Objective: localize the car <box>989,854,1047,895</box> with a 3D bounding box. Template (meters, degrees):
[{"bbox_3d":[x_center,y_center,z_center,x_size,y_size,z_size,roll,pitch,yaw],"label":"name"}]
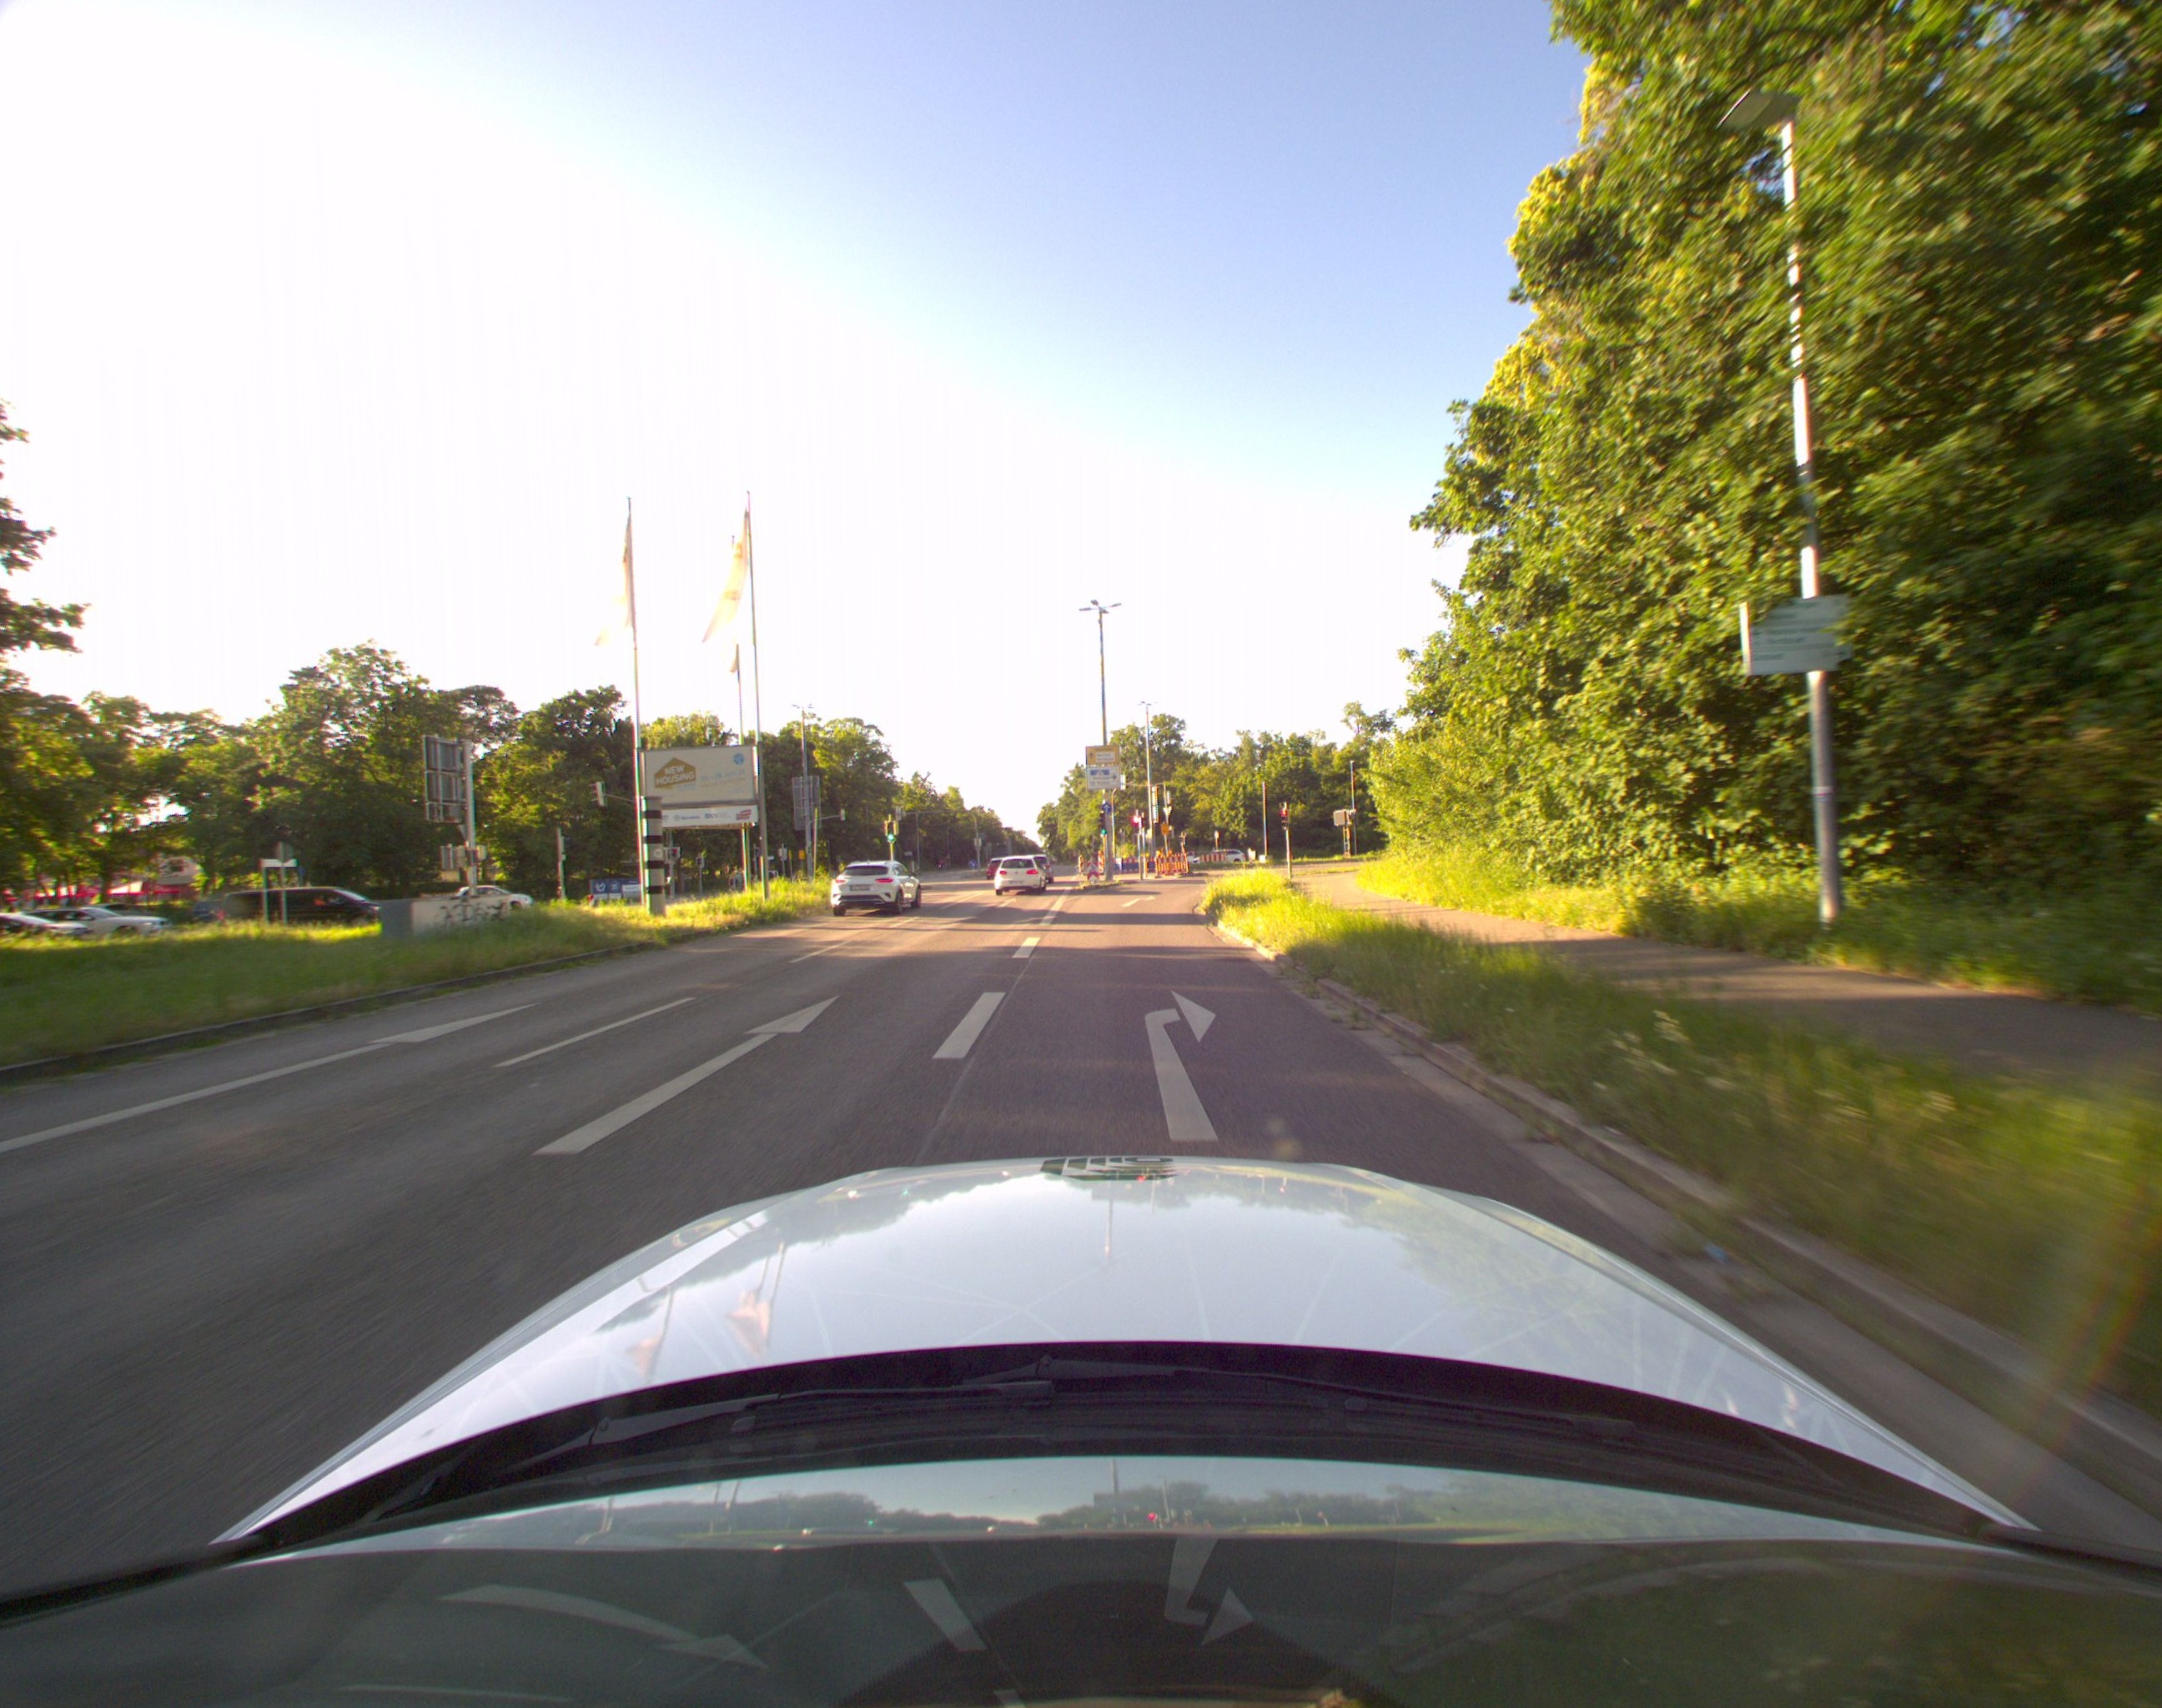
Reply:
[{"bbox_3d":[-2.428,0.764,32.425,1.934,1.414,3.999,-3,0,0],"label":"car"}]

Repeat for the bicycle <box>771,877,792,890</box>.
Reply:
[{"bbox_3d":[-22.312,2.181,60.611,0.711,0.914,1.913,-3,0,4],"label":"bicycle"}]

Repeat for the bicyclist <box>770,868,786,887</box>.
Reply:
[{"bbox_3d":[-22.364,1.742,60.156,0.711,1.342,0.991,-3,0,4],"label":"bicyclist"}]

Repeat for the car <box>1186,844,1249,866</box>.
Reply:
[{"bbox_3d":[11.532,0.105,68.722,4.836,1.580,1.986,-3,0,-22],"label":"car"}]

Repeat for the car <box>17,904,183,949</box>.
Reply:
[{"bbox_3d":[-39.516,2.891,32.948,3.806,1.389,1.839,-3,0,-26],"label":"car"}]

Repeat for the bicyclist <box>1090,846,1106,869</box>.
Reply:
[{"bbox_3d":[1.516,0.302,72.078,1.020,1.930,0.959,-1,0,-32],"label":"bicyclist"}]

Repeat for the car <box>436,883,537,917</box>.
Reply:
[{"bbox_3d":[-30.109,2.301,41.402,3.806,1.389,1.912,-3,0,-25],"label":"car"}]

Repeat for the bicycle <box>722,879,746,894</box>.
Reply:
[{"bbox_3d":[-24.572,2.323,57.757,0.711,0.914,1.913,-3,1,4],"label":"bicycle"}]

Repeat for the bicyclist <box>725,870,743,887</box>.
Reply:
[{"bbox_3d":[-24.602,1.731,57.761,0.711,1.192,0.991,-3,0,4],"label":"bicyclist"}]

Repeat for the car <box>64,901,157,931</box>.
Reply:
[{"bbox_3d":[-65.030,4.116,54.691,1.810,1.599,4.133,-3,0,-12],"label":"car"}]

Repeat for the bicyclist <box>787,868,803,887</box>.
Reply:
[{"bbox_3d":[-20.550,1.697,58.508,0.711,1.339,0.991,-3,0,4],"label":"bicyclist"}]

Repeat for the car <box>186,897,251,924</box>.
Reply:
[{"bbox_3d":[-60.750,3.937,57.432,1.815,1.599,3.476,-3,0,-22],"label":"car"}]

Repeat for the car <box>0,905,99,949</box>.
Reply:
[{"bbox_3d":[-38.930,2.711,29.485,3.806,1.389,1.839,-3,0,-26],"label":"car"}]

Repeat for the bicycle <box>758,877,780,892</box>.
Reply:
[{"bbox_3d":[-22.409,2.187,58.520,0.711,0.914,1.913,-3,0,4],"label":"bicycle"}]

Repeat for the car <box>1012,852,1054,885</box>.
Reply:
[{"bbox_3d":[-2.510,0.718,42.696,1.989,1.536,3.995,-3,0,-4],"label":"car"}]

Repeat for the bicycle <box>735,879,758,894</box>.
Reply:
[{"bbox_3d":[-23.667,2.286,57.681,0.711,0.914,1.913,-3,0,4],"label":"bicycle"}]

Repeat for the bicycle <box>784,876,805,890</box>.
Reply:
[{"bbox_3d":[-20.538,2.090,58.447,0.711,0.914,1.913,-3,0,4],"label":"bicycle"}]

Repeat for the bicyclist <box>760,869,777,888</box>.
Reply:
[{"bbox_3d":[-22.429,1.754,58.518,0.711,1.355,0.991,-3,0,4],"label":"bicyclist"}]

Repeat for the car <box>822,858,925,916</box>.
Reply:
[{"bbox_3d":[-5.832,0.885,23.425,1.857,1.444,4.000,-2,0,0],"label":"car"}]

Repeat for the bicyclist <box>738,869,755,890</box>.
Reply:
[{"bbox_3d":[-23.697,1.805,57.649,0.707,1.389,0.991,-3,0,4],"label":"bicyclist"}]

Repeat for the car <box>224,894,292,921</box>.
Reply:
[{"bbox_3d":[-57.983,3.722,57.438,1.815,1.599,4.165,-3,0,-22],"label":"car"}]

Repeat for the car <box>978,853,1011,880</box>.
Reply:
[{"bbox_3d":[-5.955,0.827,56.551,1.989,1.684,3.995,-3,0,-4],"label":"car"}]

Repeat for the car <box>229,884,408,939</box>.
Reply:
[{"bbox_3d":[-31.151,2.285,33.479,4.943,1.830,1.912,-3,0,-26],"label":"car"}]
